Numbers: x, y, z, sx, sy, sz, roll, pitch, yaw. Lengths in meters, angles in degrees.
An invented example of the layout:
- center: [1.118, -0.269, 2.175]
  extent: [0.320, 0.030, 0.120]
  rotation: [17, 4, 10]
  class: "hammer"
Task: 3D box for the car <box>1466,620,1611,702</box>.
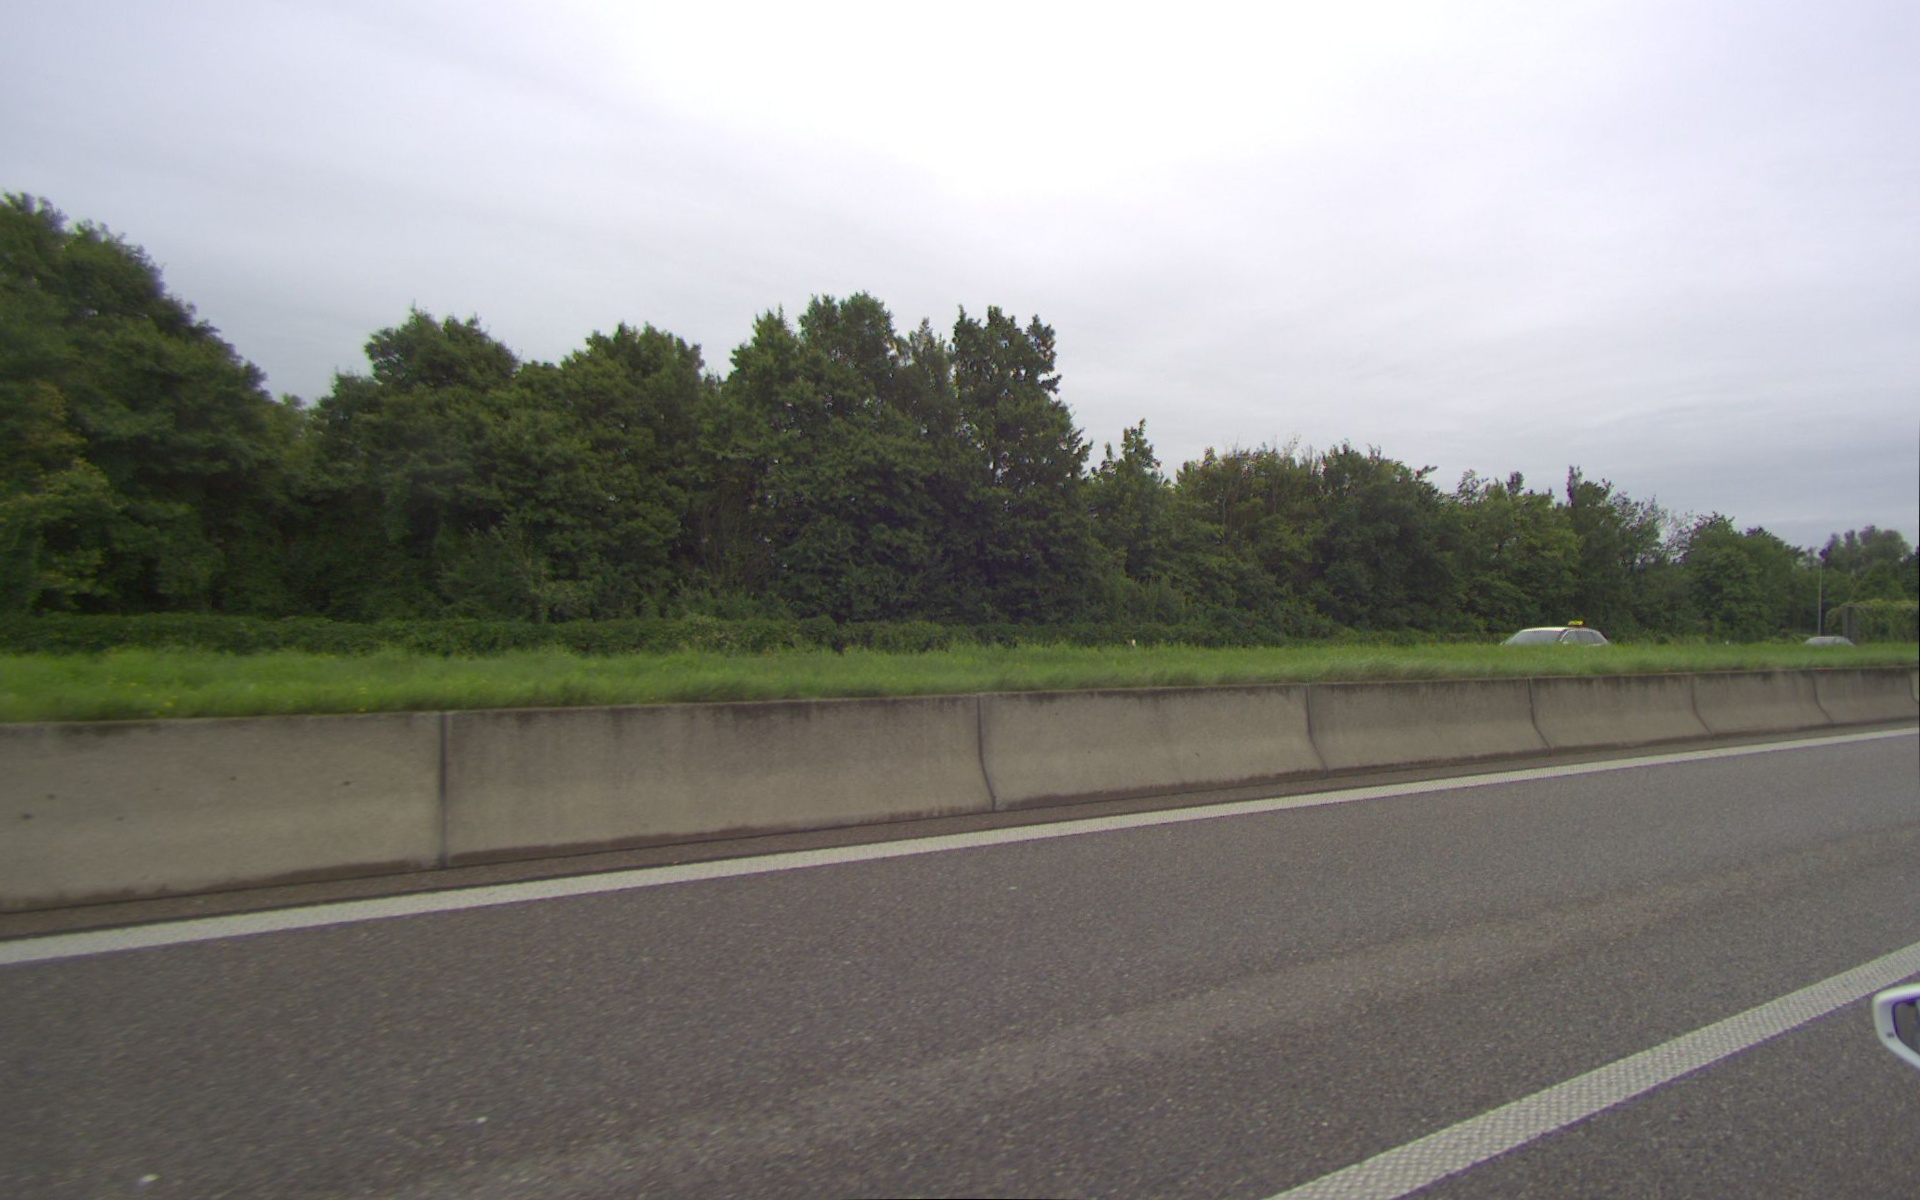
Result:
- center: [15.547, 1.592, 26.964]
  extent: [3.953, 2.040, 1.613]
  rotation: [2, 0, -30]
  class: "car"
